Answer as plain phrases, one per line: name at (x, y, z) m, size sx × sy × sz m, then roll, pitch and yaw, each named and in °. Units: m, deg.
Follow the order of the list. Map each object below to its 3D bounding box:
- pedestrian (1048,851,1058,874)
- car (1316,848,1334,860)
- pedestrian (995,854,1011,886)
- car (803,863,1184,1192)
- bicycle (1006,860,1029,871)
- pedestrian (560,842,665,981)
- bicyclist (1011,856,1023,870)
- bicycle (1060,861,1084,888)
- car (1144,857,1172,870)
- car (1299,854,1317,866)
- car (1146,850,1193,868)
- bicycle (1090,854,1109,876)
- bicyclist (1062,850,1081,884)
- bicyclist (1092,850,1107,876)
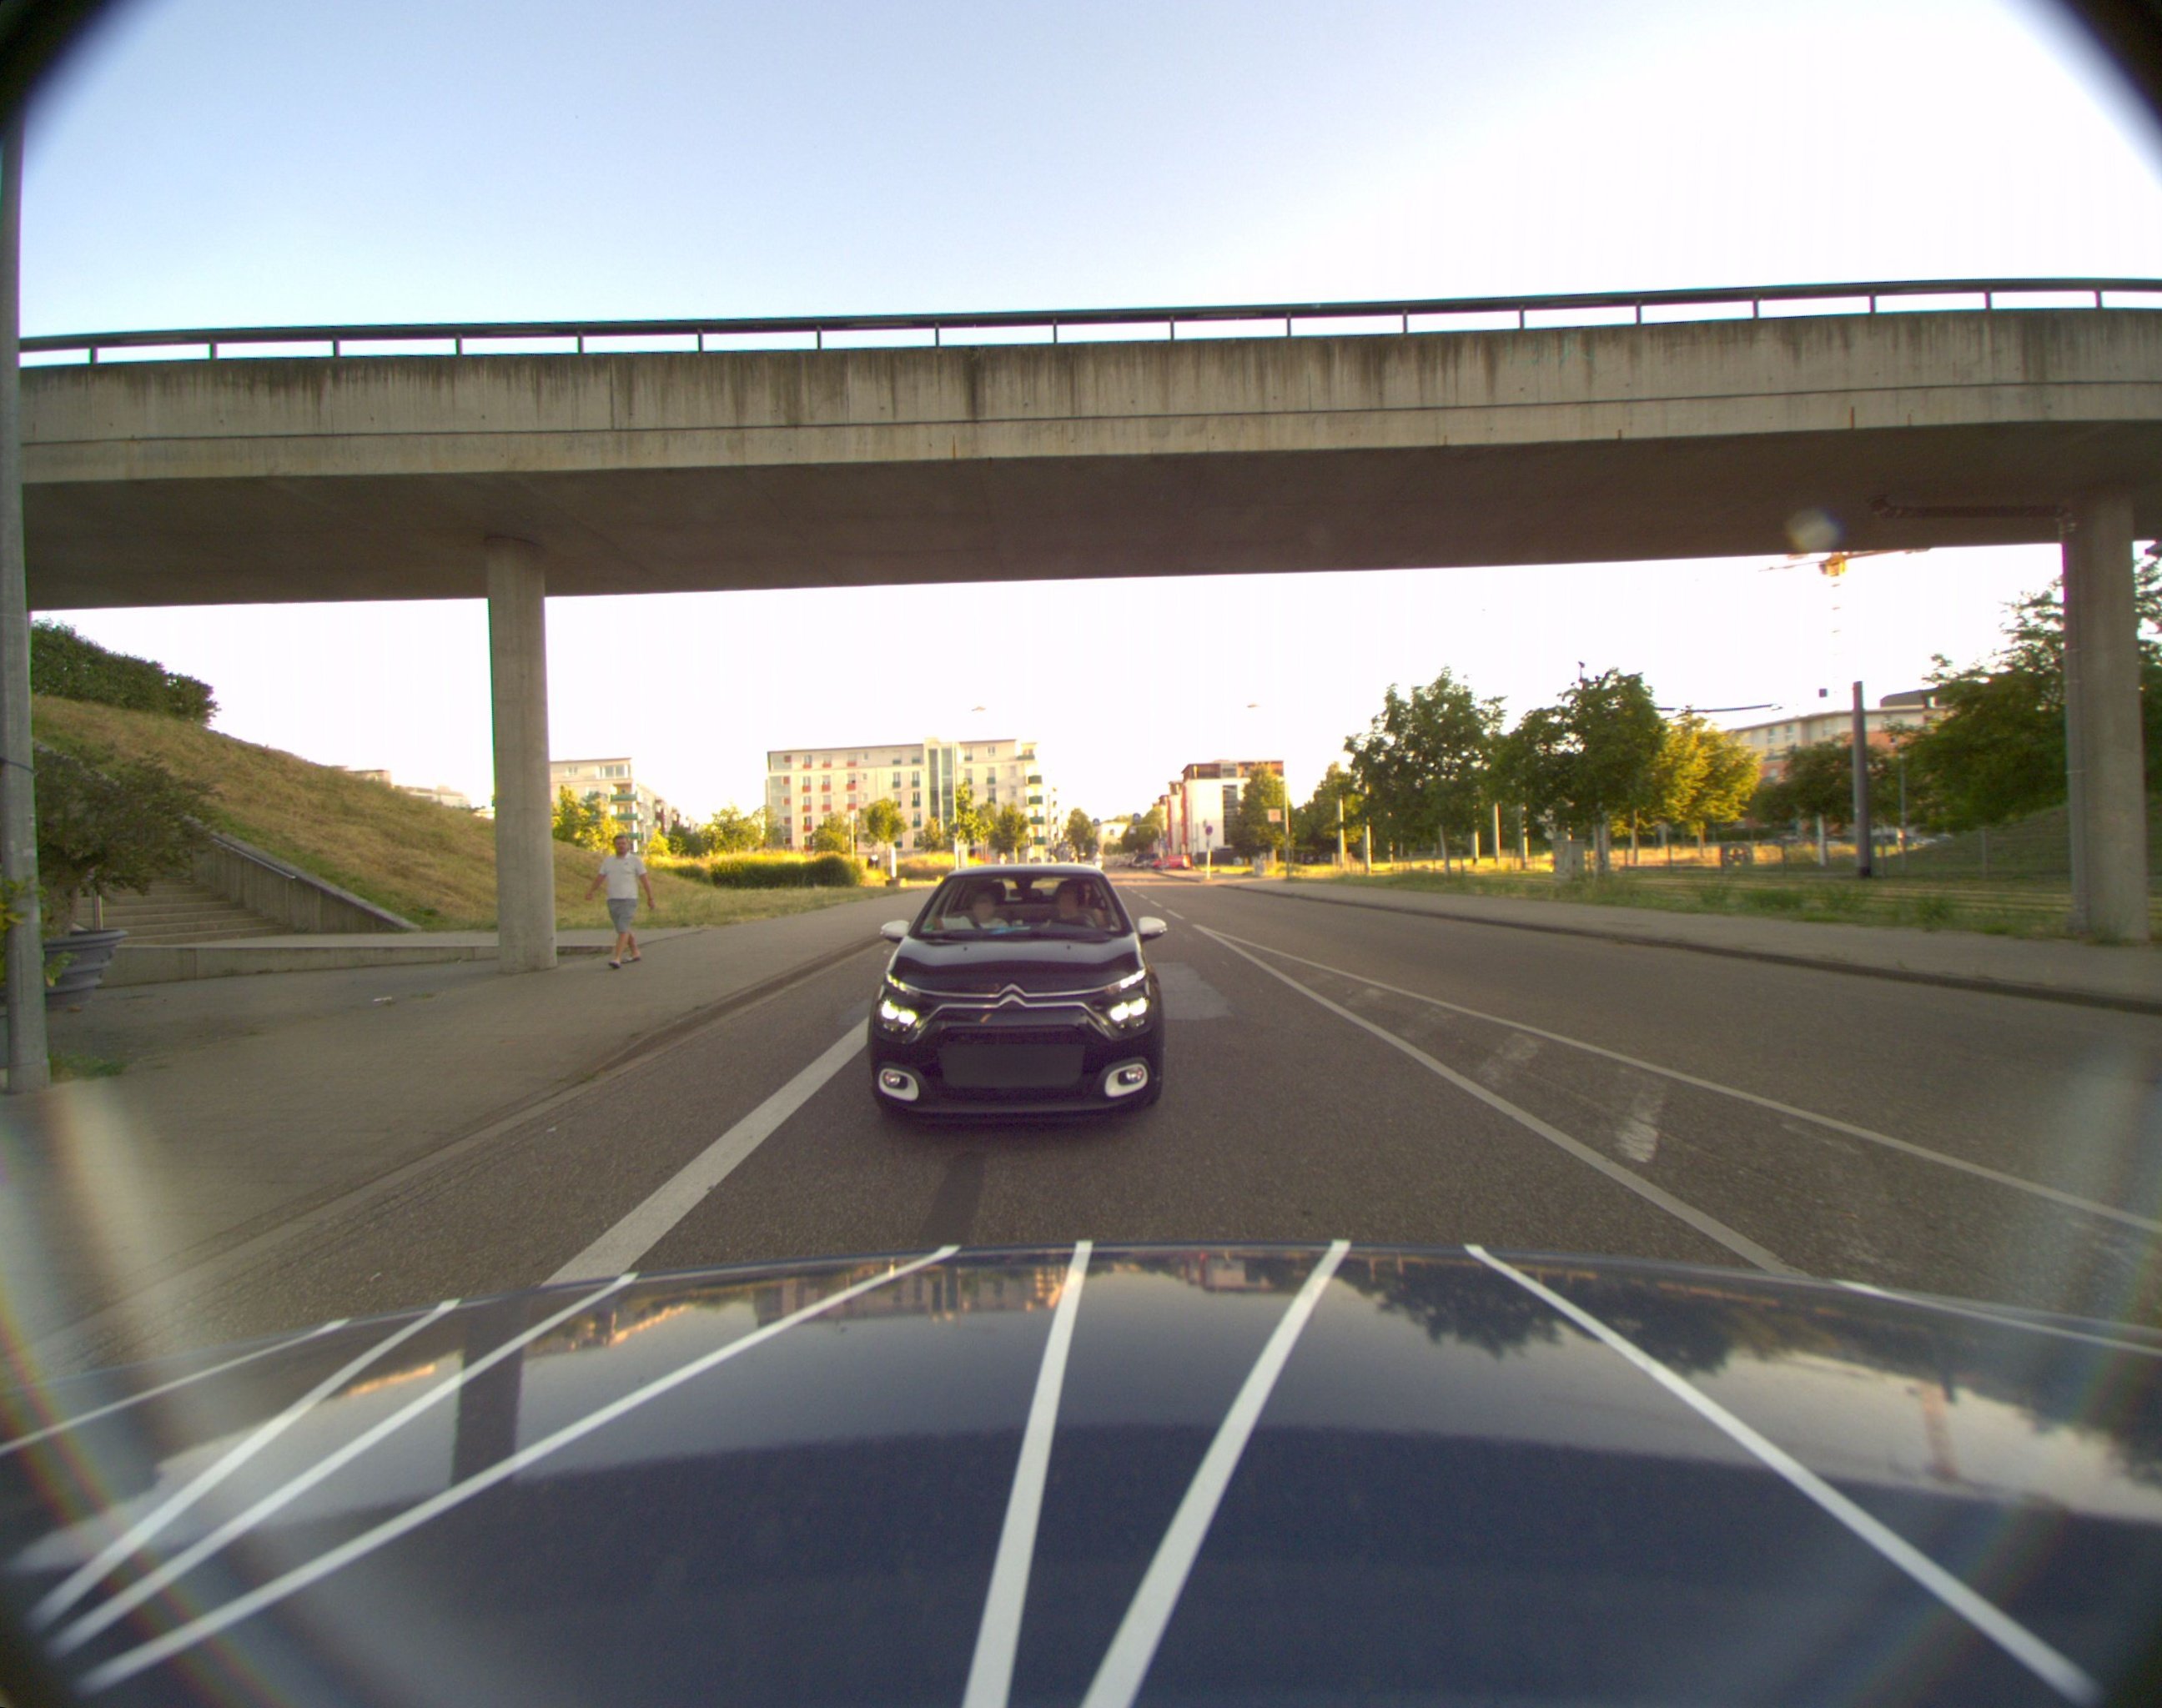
pedestrian at (-2.040, 0.627, 55.411) m, size 0.737 × 1.714 × 0.532 m, roll 0°, pitch 0°, yaw 1°
car at (31.070, 0.003, 96.804) m, size 1.942 × 1.521 × 4.004 m, roll -2°, pitch 0°, yaw 14°
pedestrian at (-3.992, 0.807, 38.931) m, size 0.737 × 1.620 × 0.859 m, roll 0°, pitch 0°, yaw 2°
car at (-0.378, 0.843, 5.570) m, size 1.739 × 1.455 × 4.000 m, roll -2°, pitch 0°, yaw 1°
bicycle at (-7.467, 1.371, 89.217) m, size 0.902 × 1.142 × 3.490 m, roll -2°, pitch 0°, yaw -37°
pedestrian at (-6.126, 0.724, 9.982) m, size 0.737 × 1.714 × 0.906 m, roll -2°, pitch 0°, yaw 1°
bicyclist at (-7.456, 1.025, 88.896) m, size 0.934 × 1.585 × 1.065 m, roll -2°, pitch 0°, yaw -34°
bicycle at (-0.428, 0.960, 36.714) m, size 0.661 × 1.217 × 2.441 m, roll -2°, pitch 0°, yaw 10°
car at (11.585, 1.382, 113.900) m, size 3.996 × 1.718 × 2.000 m, roll -2°, pitch 0°, yaw 2°
car at (29.056, 0.754, 97.290) m, size 1.942 × 1.521 × 4.004 m, roll -2°, pitch 0°, yaw 14°
car at (11.364, 0.648, 97.558) m, size 5.512 × 2.002 × 2.003 m, roll -2°, pitch 0°, yaw 27°
bicycle at (1.342, 0.784, 54.325) m, size 0.886 × 1.483 × 3.324 m, roll -2°, pitch 0°, yaw 10°
bicyclist at (-0.456, 0.624, 36.625) m, size 0.696 × 1.630 × 0.852 m, roll -2°, pitch 0°, yaw 8°
bicyclist at (1.352, 0.647, 54.364) m, size 0.882 × 1.865 × 1.035 m, roll -2°, pitch 0°, yaw 9°
